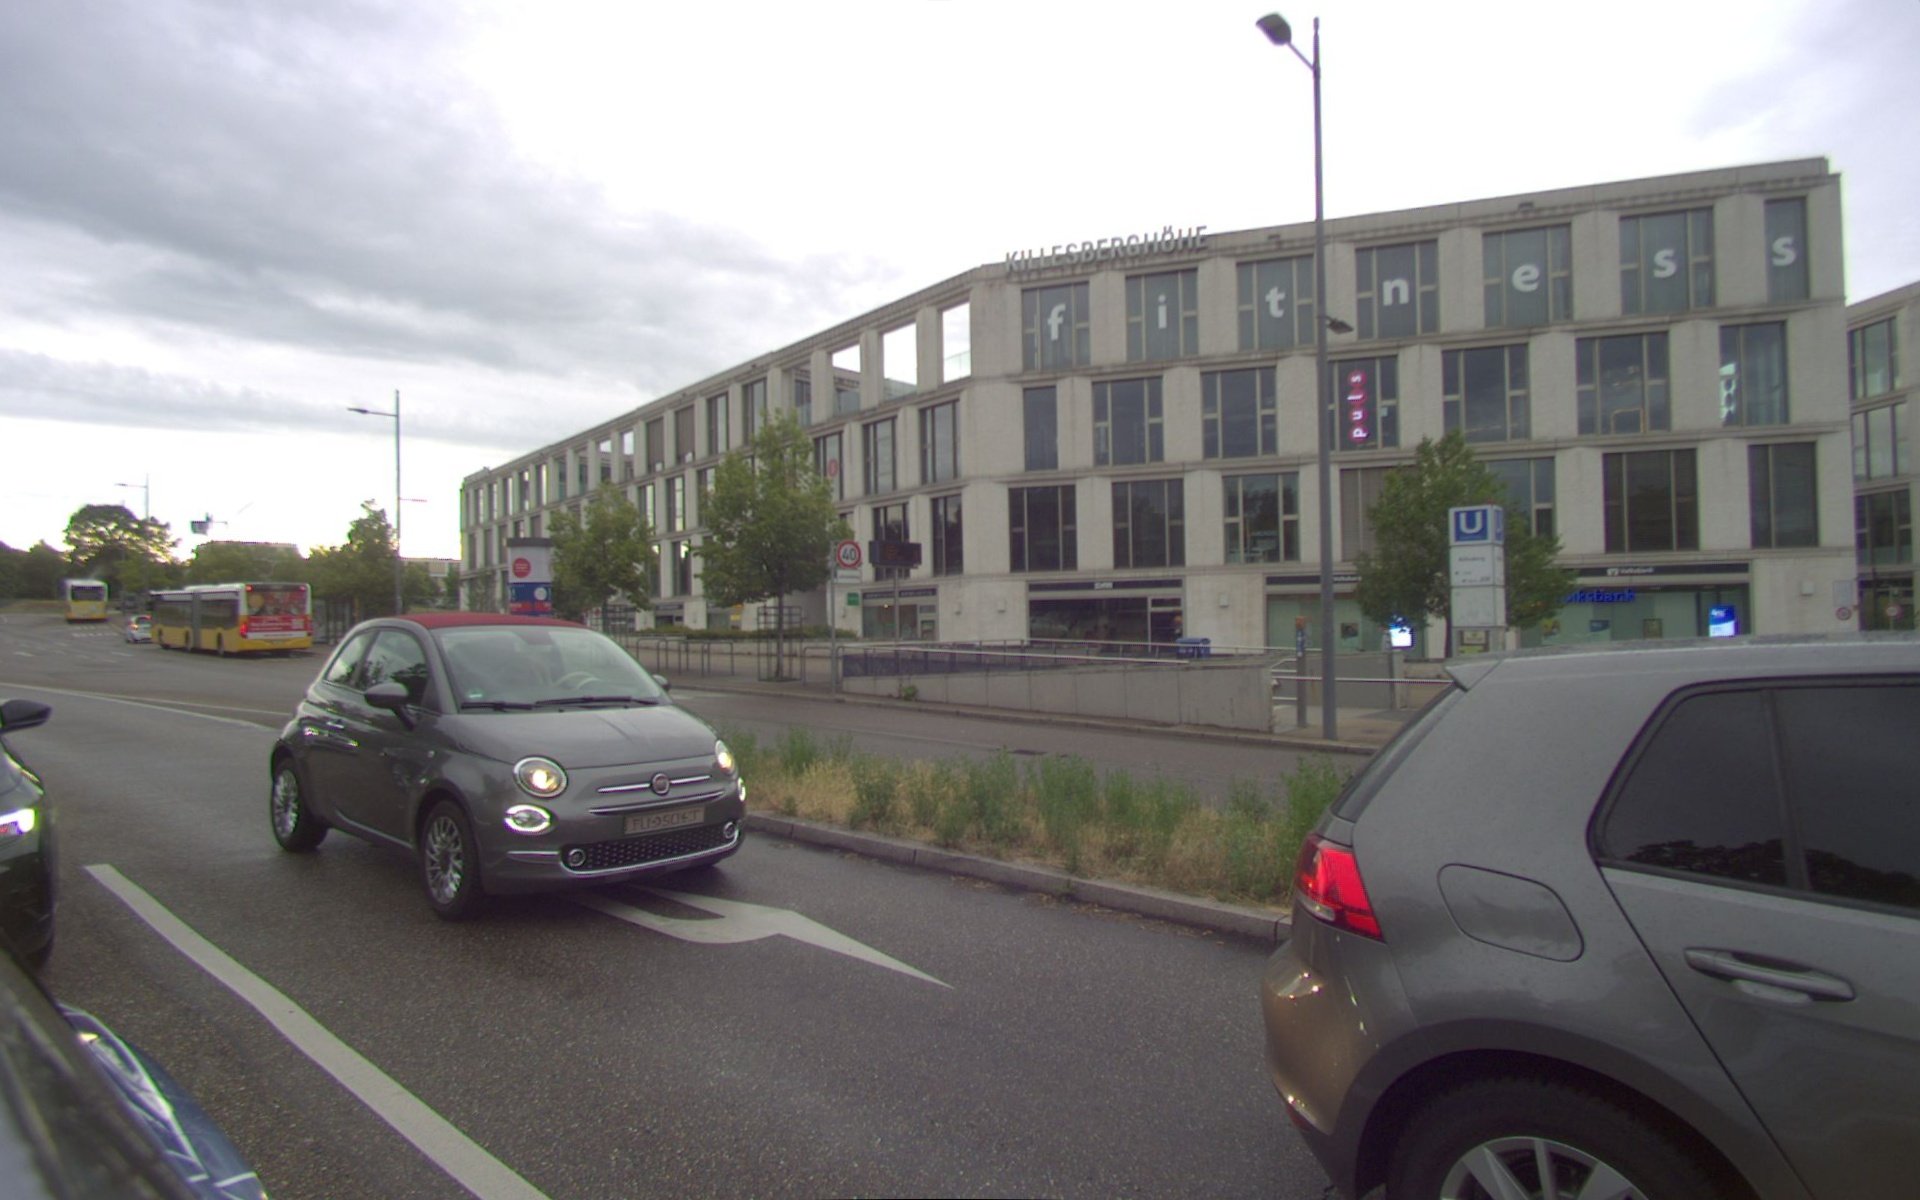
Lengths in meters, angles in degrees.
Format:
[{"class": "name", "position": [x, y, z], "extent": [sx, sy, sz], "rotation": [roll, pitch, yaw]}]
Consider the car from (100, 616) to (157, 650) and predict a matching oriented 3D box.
[{"class": "car", "position": [-47.159, 1.827, 57.368], "extent": [3.998, 1.800, 1.843], "rotation": [-1, 0, 41]}]

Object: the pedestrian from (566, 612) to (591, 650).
[{"class": "pedestrian", "position": [-16.434, 1.309, 43.638], "extent": [0.967, 1.593, 0.869], "rotation": [-1, 0, -19]}]

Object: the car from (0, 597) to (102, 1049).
[{"class": "car", "position": [-5.378, 0.760, 4.370], "extent": [4.766, 1.476, 1.877], "rotation": [-1, 0, 41]}]

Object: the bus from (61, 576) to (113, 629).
[{"class": "bus", "position": [-76.595, 0.260, 89.043], "extent": [2.717, 4.185, 19.383], "rotation": [-1, 0, -39]}]

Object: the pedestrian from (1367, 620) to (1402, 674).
[{"class": "pedestrian", "position": [12.769, 1.397, 30.436], "extent": [0.910, 1.617, 0.757], "rotation": [-1, -1, 27]}]

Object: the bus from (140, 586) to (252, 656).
[{"class": "bus", "position": [-38.166, 0.982, 50.380], "extent": [9.911, 3.205, 2.658], "rotation": [-1, 0, 42]}]

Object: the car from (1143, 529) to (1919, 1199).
[{"class": "car", "position": [2.627, 0.647, 1.443], "extent": [4.374, 1.492, 1.797], "rotation": [-1, -2, 41]}]

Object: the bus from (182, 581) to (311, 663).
[{"class": "bus", "position": [-31.139, 0.914, 43.974], "extent": [9.206, 3.236, 2.723], "rotation": [-1, 0, 43]}]

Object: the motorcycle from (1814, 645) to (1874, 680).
[{"class": "motorcycle", "position": [20.401, 1.431, 23.382], "extent": [0.517, 0.746, 1.098], "rotation": [-1, 0, 9]}]

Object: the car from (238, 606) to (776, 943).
[{"class": "car", "position": [-2.905, 0.806, 6.229], "extent": [3.502, 1.492, 1.611], "rotation": [-1, -2, 39]}]
